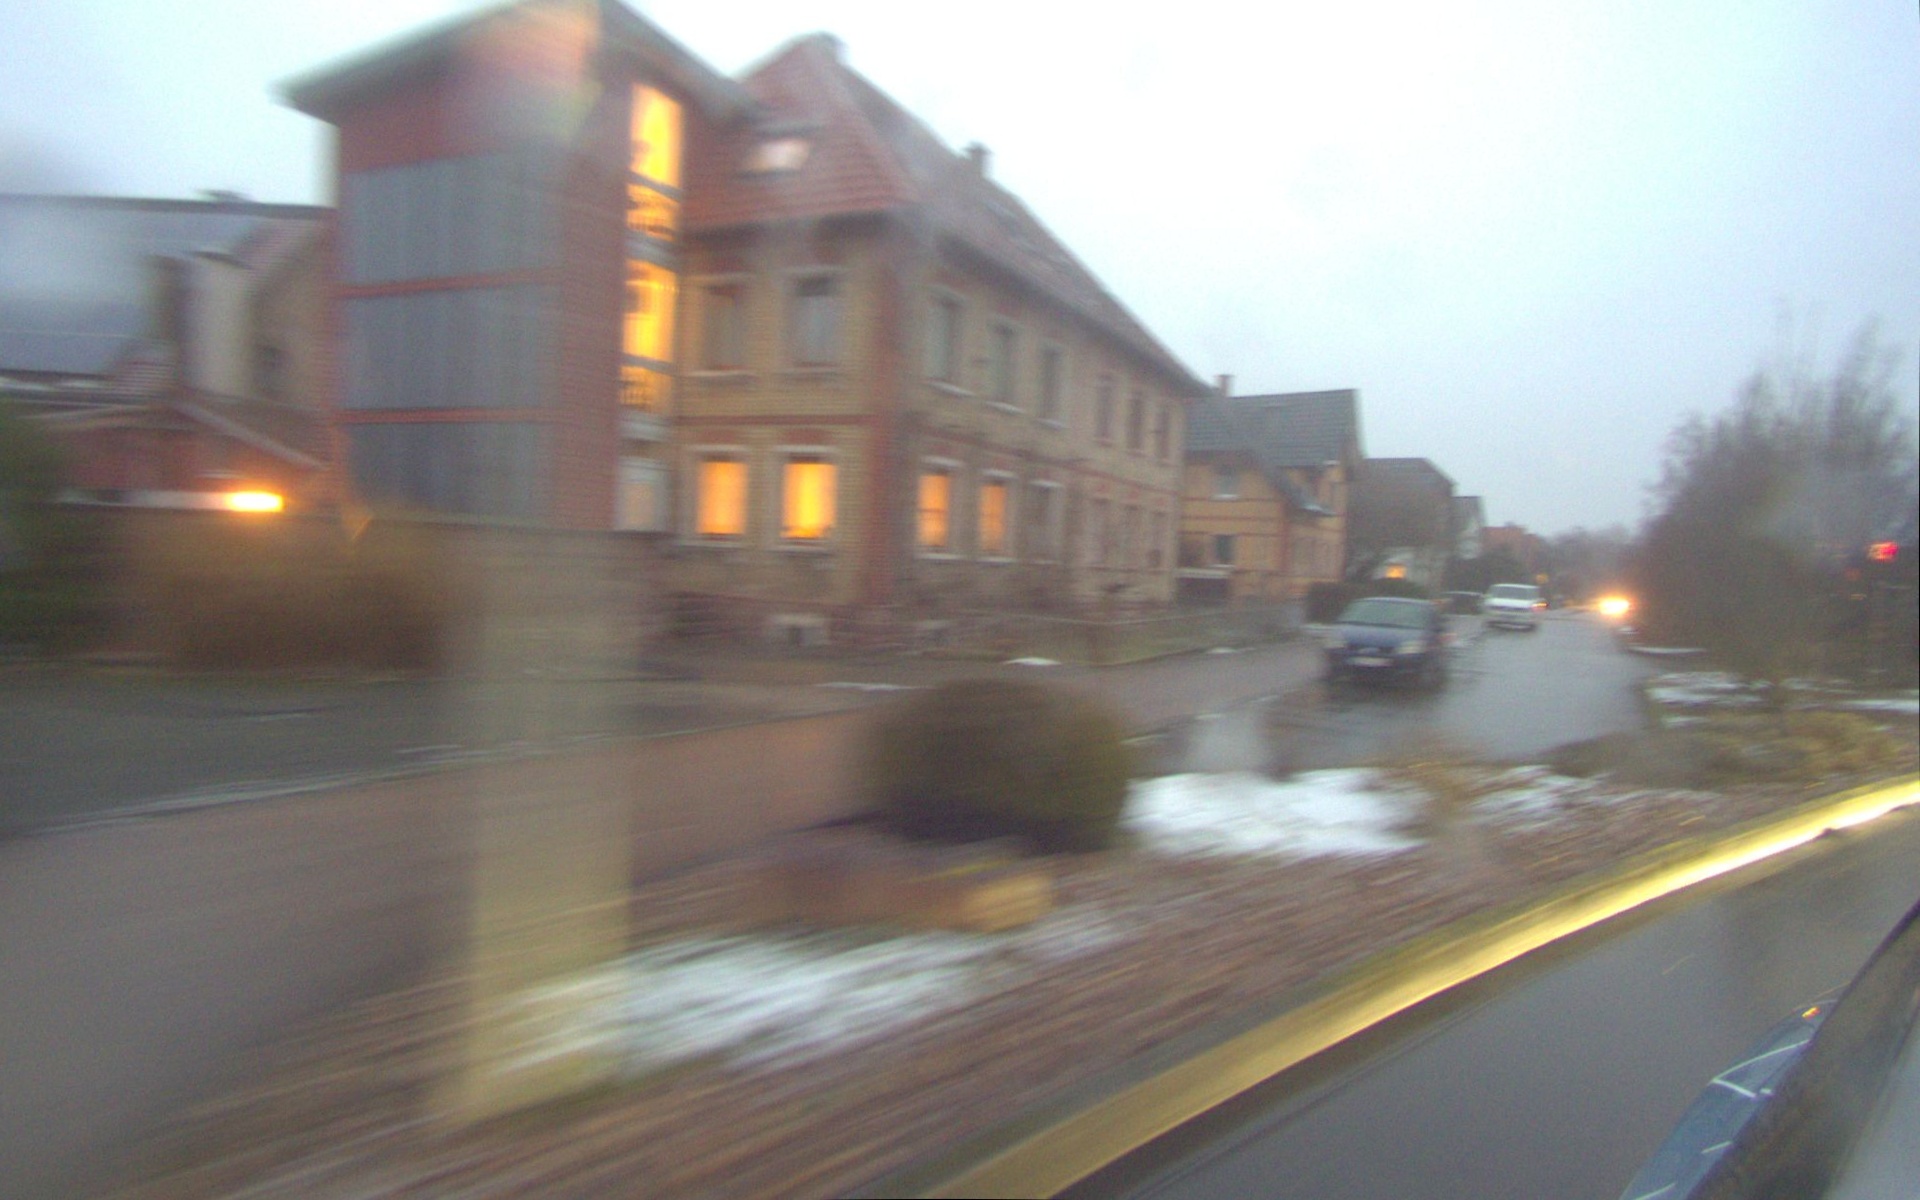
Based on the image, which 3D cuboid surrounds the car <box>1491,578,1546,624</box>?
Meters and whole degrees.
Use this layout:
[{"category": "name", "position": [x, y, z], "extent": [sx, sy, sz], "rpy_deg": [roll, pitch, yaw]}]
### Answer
[{"category": "car", "position": [24.750, 0.012, 44.767], "extent": [1.934, 1.828, 4.127], "rpy_deg": [3, 2, 31]}]

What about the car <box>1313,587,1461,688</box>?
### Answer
[{"category": "car", "position": [7.356, 0.549, 17.237], "extent": [1.764, 1.448, 3.754], "rpy_deg": [2, 1, 32]}]
